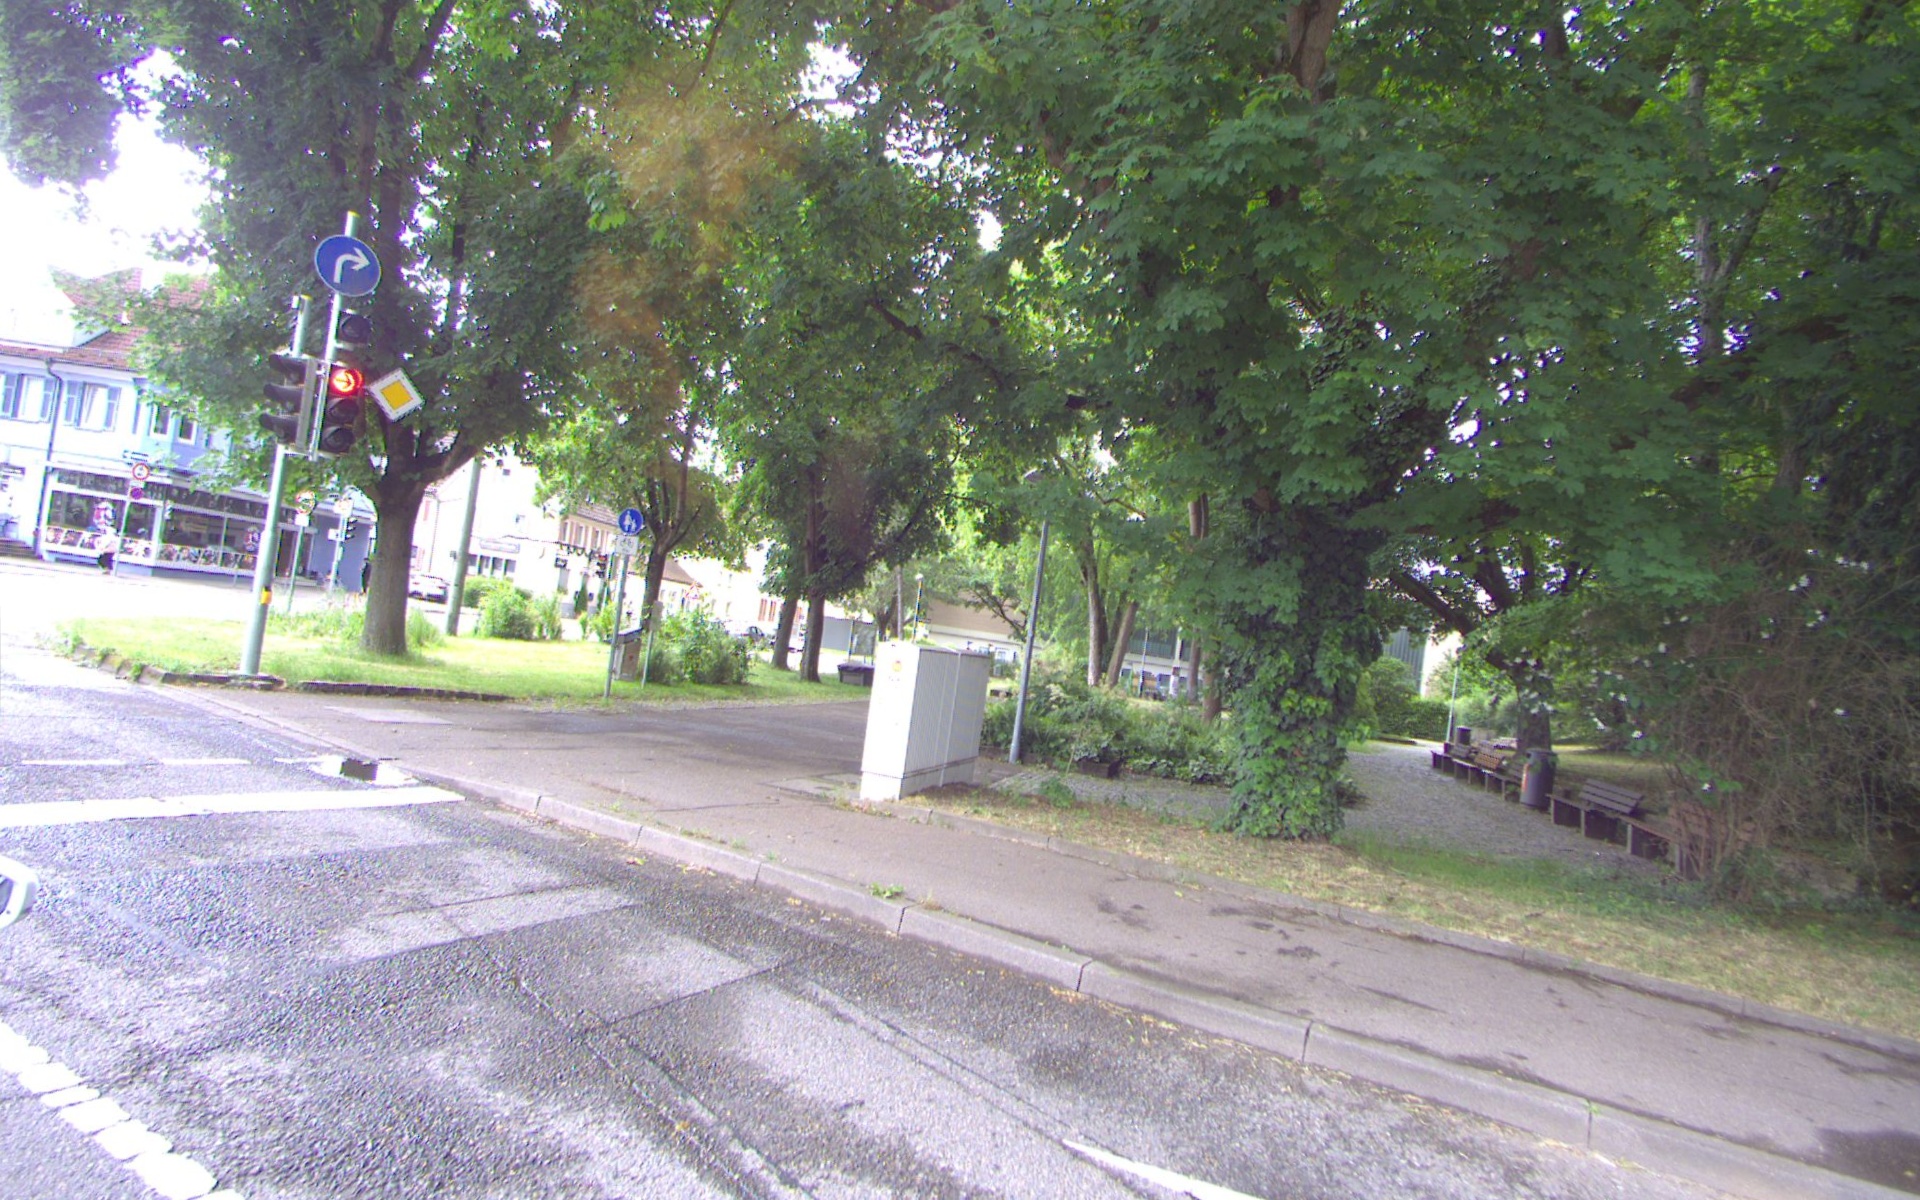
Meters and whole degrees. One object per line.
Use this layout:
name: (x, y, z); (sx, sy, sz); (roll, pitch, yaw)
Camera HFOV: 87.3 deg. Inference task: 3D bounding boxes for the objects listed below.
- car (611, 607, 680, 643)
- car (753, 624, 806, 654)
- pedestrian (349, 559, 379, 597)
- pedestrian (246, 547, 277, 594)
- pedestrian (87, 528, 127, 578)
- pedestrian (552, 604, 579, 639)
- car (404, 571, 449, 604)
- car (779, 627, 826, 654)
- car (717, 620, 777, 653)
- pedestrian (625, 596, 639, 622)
car: (-13.737, 1.140, 44.082); (1.436, 1.282, 3.014); (7, -2, 13)
car: (-10.703, 2.341, 59.911); (1.618, 1.474, 3.740); (7, -2, 13)
pedestrian: (-26.890, -0.986, 45.408); (0.732, 1.578, 0.673); (6, -1, 17)
pedestrian: (-25.299, -1.068, 36.450); (0.688, 1.578, 0.662); (7, -1, -27)
pedestrian: (-28.927, -1.592, 34.141); (0.725, 1.578, 0.763); (7, -1, -27)
pedestrian: (-12.994, 0.710, 33.130); (0.506, 1.093, 0.507); (6, -1, 17)
car: (-28.178, -0.690, 53.164); (1.870, 1.406, 3.589); (9, -2, -28)
car: (-10.278, 2.659, 66.042); (1.618, 1.474, 3.740); (7, -2, 13)
car: (-11.566, 2.018, 54.937); (1.618, 1.474, 3.740); (7, -2, 13)
pedestrian: (-21.284, 0.592, 65.304); (0.500, 1.578, 0.505); (6, -1, 17)
